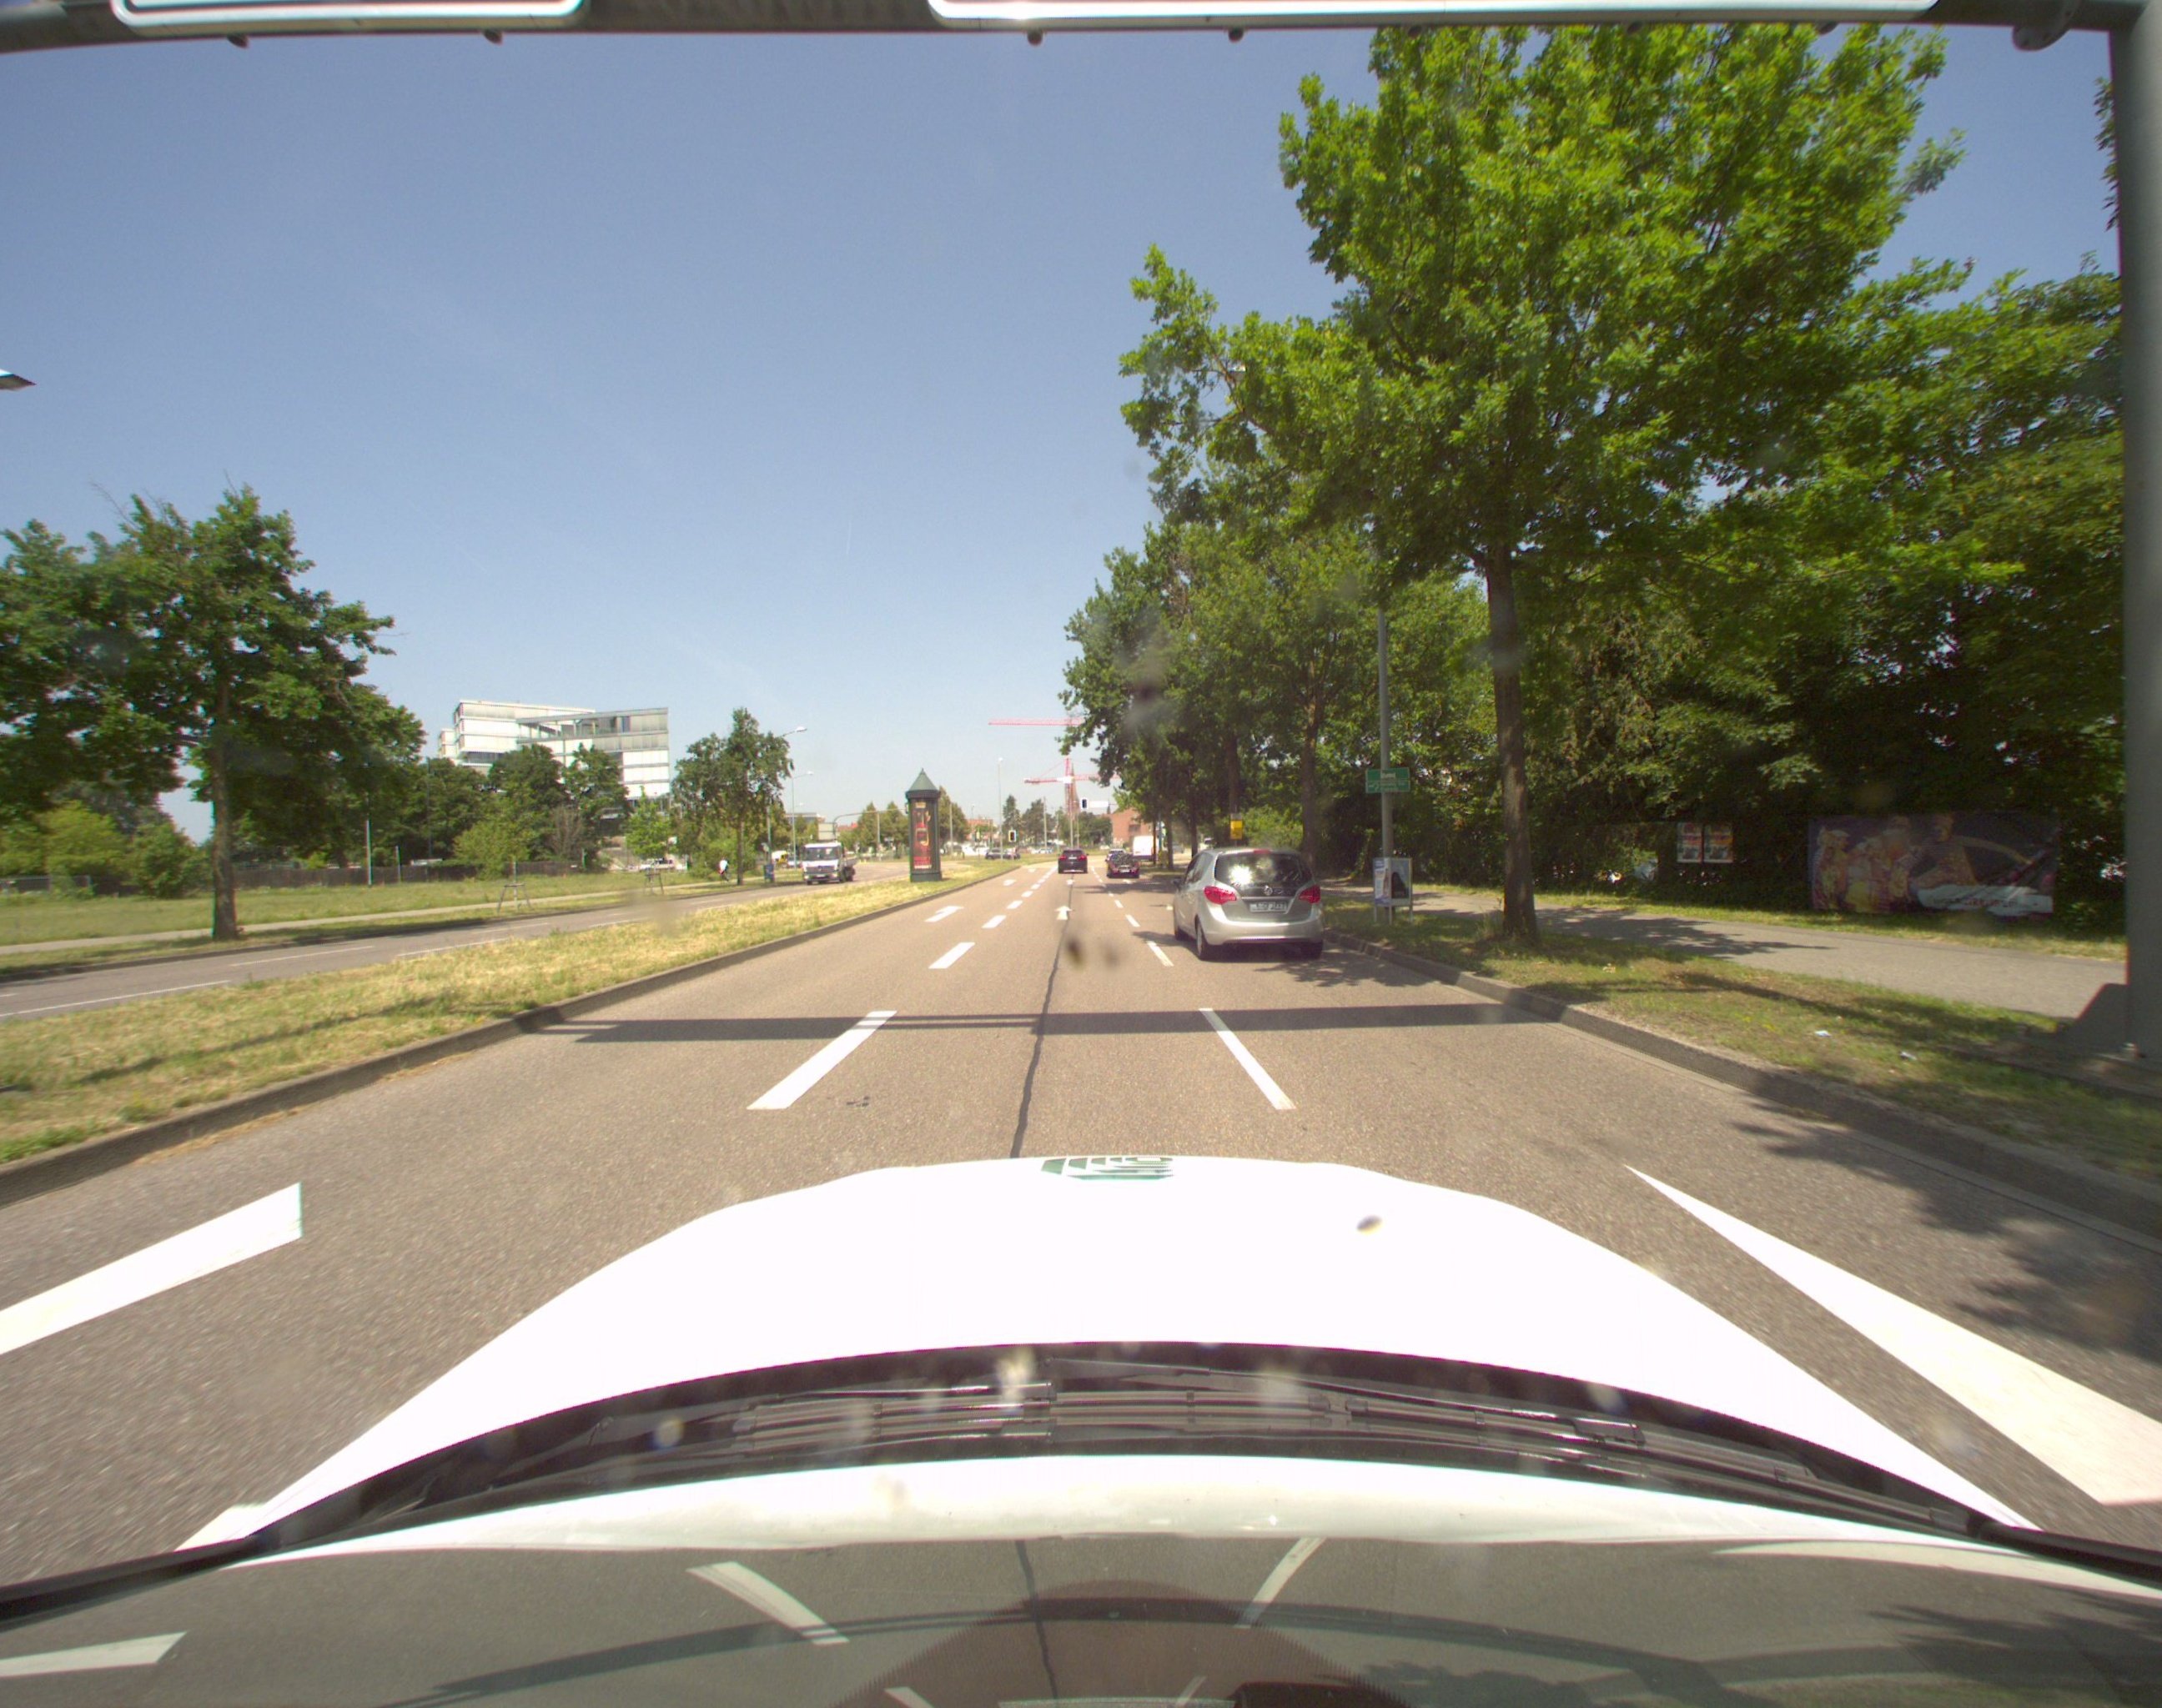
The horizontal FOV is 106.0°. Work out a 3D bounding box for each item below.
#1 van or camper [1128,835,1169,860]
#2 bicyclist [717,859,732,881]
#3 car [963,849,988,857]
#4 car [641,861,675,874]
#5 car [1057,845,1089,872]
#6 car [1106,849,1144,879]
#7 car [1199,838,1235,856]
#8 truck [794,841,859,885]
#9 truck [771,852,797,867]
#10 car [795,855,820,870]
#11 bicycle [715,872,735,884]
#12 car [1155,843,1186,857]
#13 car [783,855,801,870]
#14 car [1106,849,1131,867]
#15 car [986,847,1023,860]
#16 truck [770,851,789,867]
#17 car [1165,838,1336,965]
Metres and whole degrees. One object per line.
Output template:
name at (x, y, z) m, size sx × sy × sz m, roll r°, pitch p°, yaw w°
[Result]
van or camper at (6.748, -0.699, 80.890) m, size 2.471 × 2.291 × 4.950 m, roll -2°, pitch 0°, yaw 25°
bicyclist at (-24.683, 1.107, 56.398) m, size 0.620 × 1.489 × 0.757 m, roll -2°, pitch 0°, yaw 3°
car at (-19.179, -0.180, 148.361) m, size 3.966 × 1.464 × 2.004 m, roll -2°, pitch 0°, yaw 7°
car at (-66.712, 2.123, 128.510) m, size 1.974 × 1.878 × 4.317 m, roll -2°, pitch 0°, yaw 32°
car at (-0.510, 0.275, 54.138) m, size 1.991 × 1.689 × 4.035 m, roll -1°, pitch 1°, yaw 1°
car at (2.457, 0.529, 46.335) m, size 2.007 × 1.517 × 4.463 m, roll -2°, pitch 0°, yaw 2°
car at (15.618, -0.812, 93.669) m, size 4.023 × 2.013 × 1.976 m, roll -2°, pitch 0°, yaw -43°
truck at (-16.332, 0.539, 52.661) m, size 2.635 × 2.576 × 6.306 m, roll -2°, pitch 0°, yaw -5°
truck at (-54.086, 0.954, 148.318) m, size 2.374 × 2.594 × 6.338 m, roll -2°, pitch 0°, yaw -39°
car at (-30.316, 0.930, 90.137) m, size 2.004 × 1.596 × 3.965 m, roll -2°, pitch 0°, yaw -27°
bicycle at (-24.654, 1.659, 56.436) m, size 0.479 × 0.715 × 1.852 m, roll -2°, pitch 0°, yaw 3°
car at (11.409, -0.521, 103.793) m, size 1.921 × 1.693 × 3.944 m, roll -2°, pitch 0°, yaw 41°
car at (-37.004, 1.021, 104.346) m, size 1.999 × 1.815 × 3.975 m, roll -2°, pitch 0°, yaw -19°
car at (2.998, 0.278, 65.629) m, size 1.650 × 1.356 × 4.458 m, roll -2°, pitch 0°, yaw -2°
car at (-8.763, -0.059, 93.862) m, size 3.973 × 1.453 × 2.000 m, roll -2°, pitch 0°, yaw 0°
truck at (-52.233, 0.911, 141.038) m, size 2.008 × 2.739 × 4.981 m, roll -2°, pitch 1°, yaw -33°
car at (2.429, 0.604, 12.651) m, size 1.787 × 1.612 × 3.890 m, roll -2°, pitch 0°, yaw 0°
